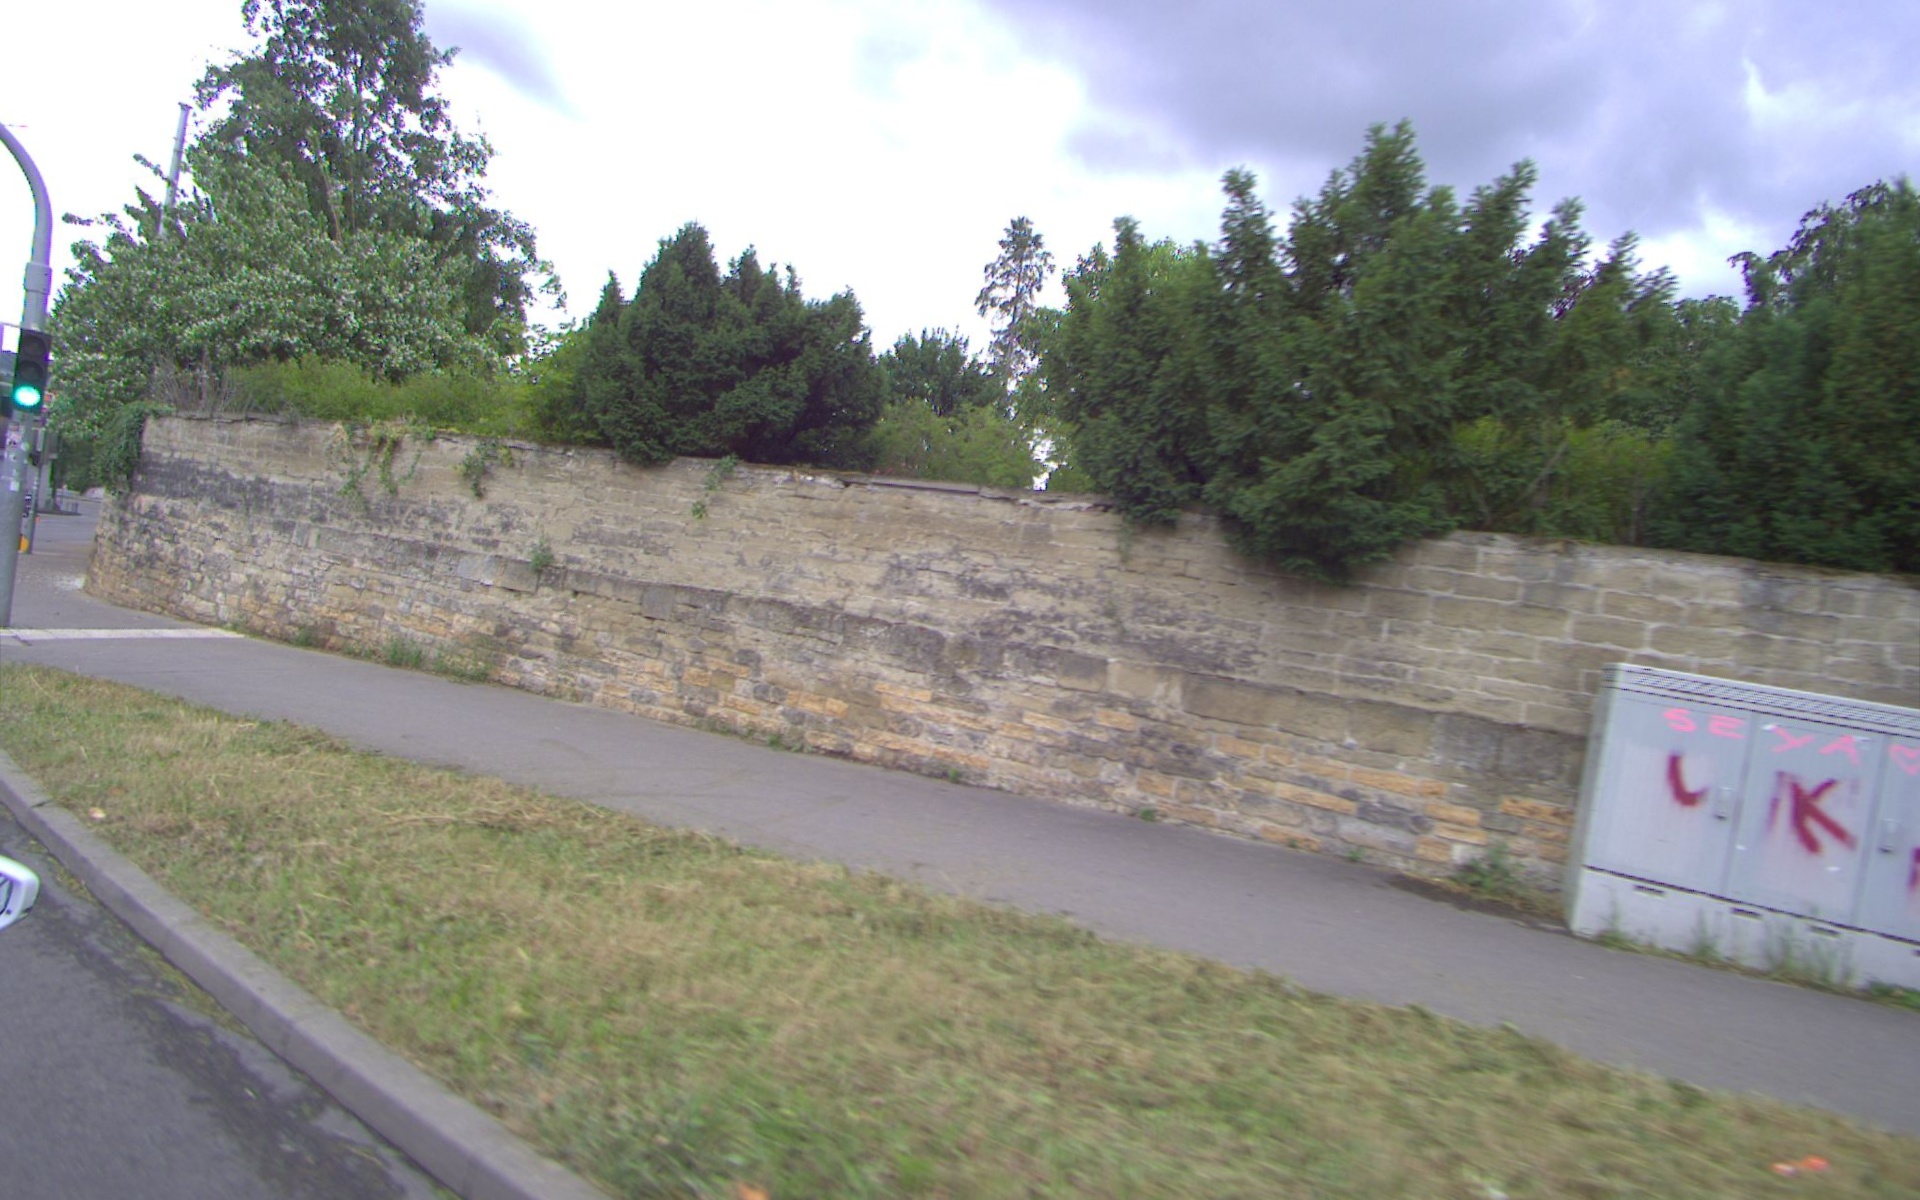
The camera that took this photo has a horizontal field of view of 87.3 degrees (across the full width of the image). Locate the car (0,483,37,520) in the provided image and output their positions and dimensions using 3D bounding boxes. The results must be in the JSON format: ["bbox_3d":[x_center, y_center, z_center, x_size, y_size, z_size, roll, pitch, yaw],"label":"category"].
[{"bbox_3d":[-51.341,-5.374,53.902,1.912,1.647,4.482,11,-4,-34],"label":"car"}]
